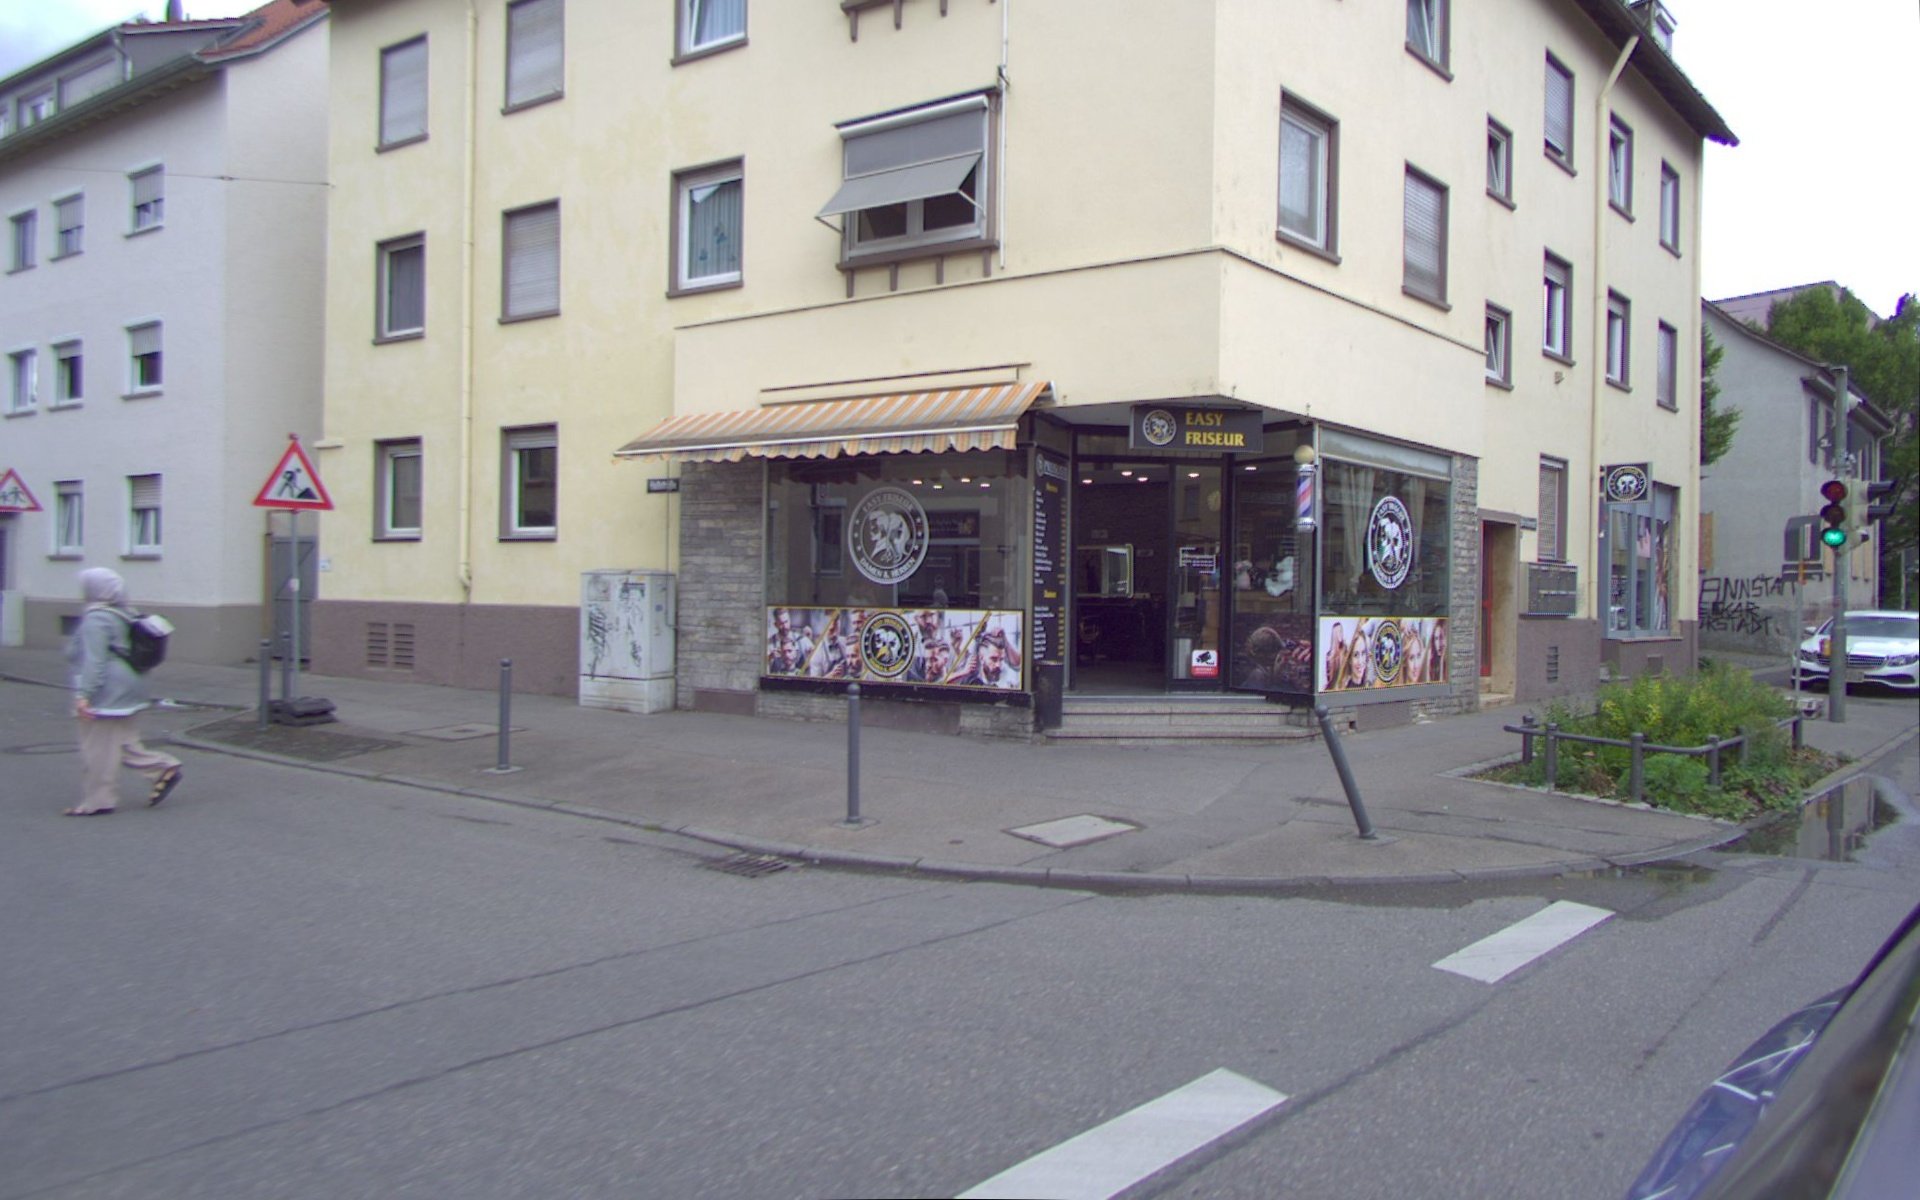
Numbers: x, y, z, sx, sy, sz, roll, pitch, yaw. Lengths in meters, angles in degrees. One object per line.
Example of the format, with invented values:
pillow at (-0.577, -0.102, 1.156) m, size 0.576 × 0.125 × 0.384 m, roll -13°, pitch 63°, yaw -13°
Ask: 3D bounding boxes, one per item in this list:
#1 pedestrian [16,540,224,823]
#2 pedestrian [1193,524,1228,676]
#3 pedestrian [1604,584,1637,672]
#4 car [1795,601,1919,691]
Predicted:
pedestrian at (-5.361, 0.471, 6.498) m, size 0.665 × 1.685 × 0.798 m, roll 1°, pitch 1°, yaw 13°
pedestrian at (3.016, -0.003, 12.181) m, size 0.391 × 1.797 × 0.385 m, roll -1°, pitch 0°, yaw 16°
pedestrian at (11.766, 0.484, 18.022) m, size 0.412 × 1.550 × 0.373 m, roll 0°, pitch 0°, yaw -38°
car at (17.353, 0.769, 18.870) m, size 4.695 × 1.484 × 1.772 m, roll 0°, pitch 0°, yaw -38°
